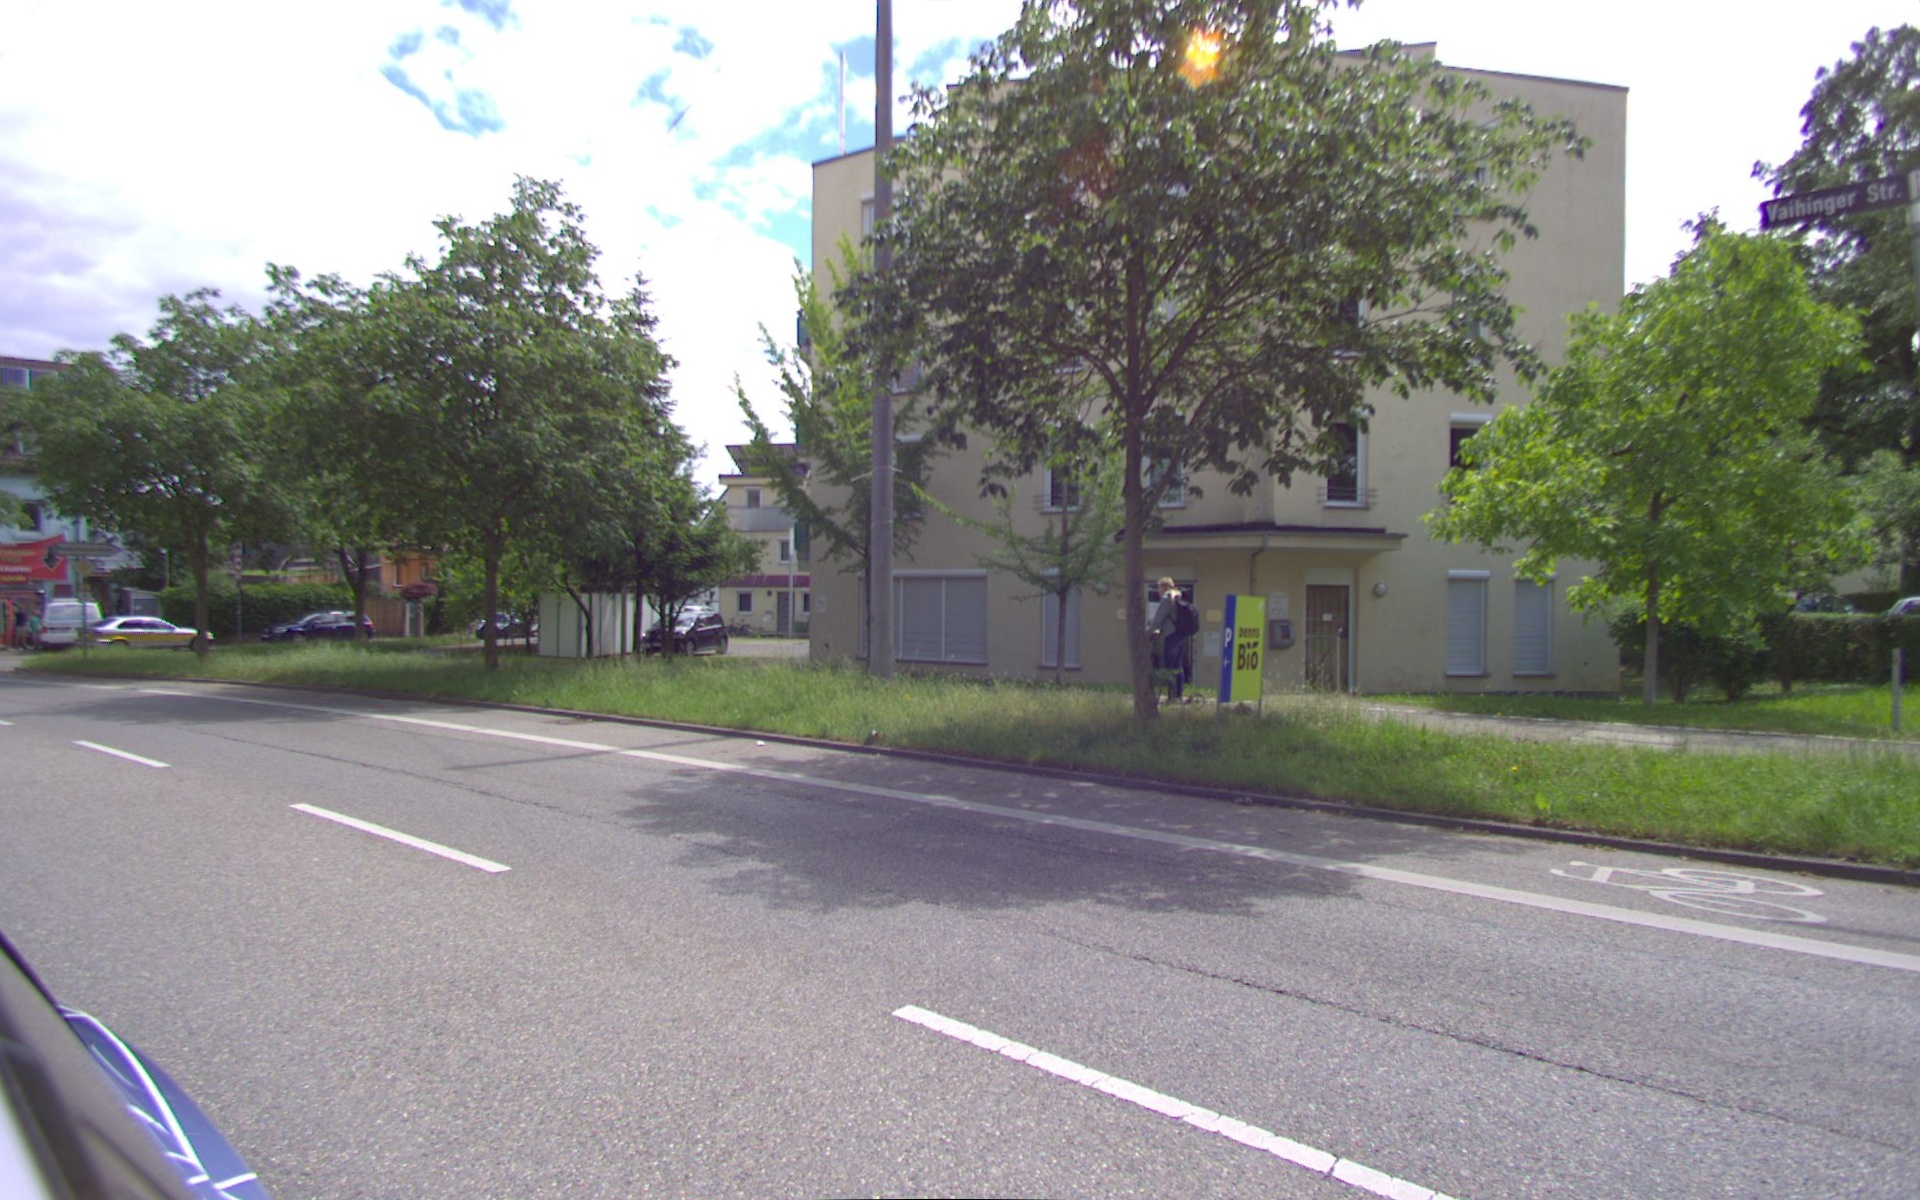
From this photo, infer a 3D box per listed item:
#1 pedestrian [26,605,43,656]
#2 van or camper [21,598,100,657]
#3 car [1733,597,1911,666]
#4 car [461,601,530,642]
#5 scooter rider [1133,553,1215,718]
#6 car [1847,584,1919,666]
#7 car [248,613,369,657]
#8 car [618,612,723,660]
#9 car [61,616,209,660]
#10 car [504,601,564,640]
[{"bbox_3d":[-36.924,1.202,40.359,0.443,2.005,0.379,0,2,39],"label":"pedestrian"},{"bbox_3d":[-34.944,1.020,39.282,3.809,2.104,1.771,0,2,41],"label":"van or camper"},{"bbox_3d":[22.709,0.792,26.884,1.697,1.676,3.989,0,-1,8],"label":"car"},{"bbox_3d":[-24.577,1.122,53.730,1.953,2.029,4.002,-1,0,-2],"label":"car"},{"bbox_3d":[2.747,0.429,12.985,0.793,2.028,0.670,0,2,39],"label":"scooter rider"},{"bbox_3d":[22.012,0.546,22.366,1.746,1.807,3.988,0,-1,9],"label":"car"},{"bbox_3d":[-27.269,1.401,42.434,1.714,1.694,3.931,0,0,35],"label":"car"},{"bbox_3d":[-9.328,1.180,32.899,1.773,1.431,3.988,-1,-2,9],"label":"car"},{"bbox_3d":[-30.756,1.371,37.851,1.528,1.331,4.011,0,2,25],"label":"car"},{"bbox_3d":[-24.645,1.134,58.698,1.970,2.028,4.003,-1,2,-3],"label":"car"}]
